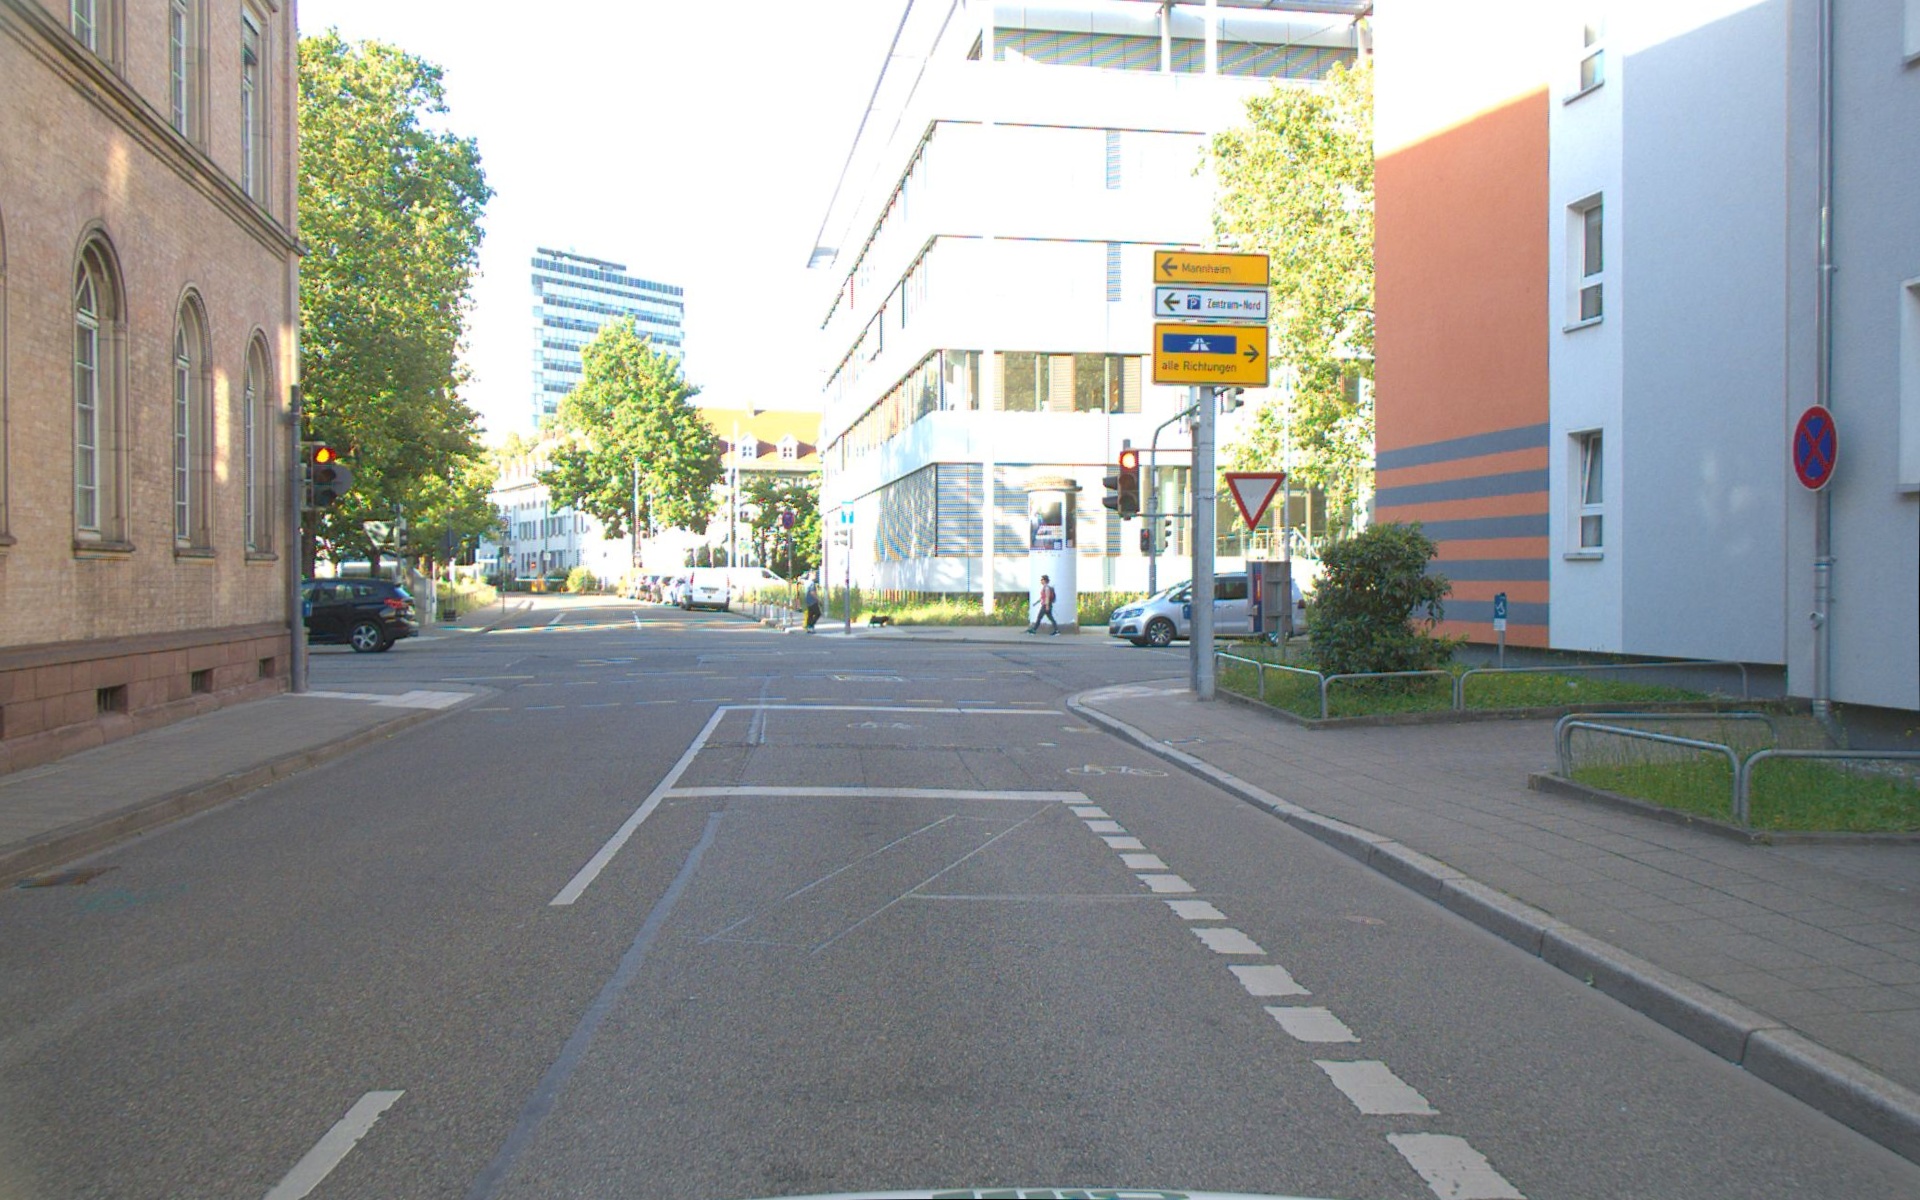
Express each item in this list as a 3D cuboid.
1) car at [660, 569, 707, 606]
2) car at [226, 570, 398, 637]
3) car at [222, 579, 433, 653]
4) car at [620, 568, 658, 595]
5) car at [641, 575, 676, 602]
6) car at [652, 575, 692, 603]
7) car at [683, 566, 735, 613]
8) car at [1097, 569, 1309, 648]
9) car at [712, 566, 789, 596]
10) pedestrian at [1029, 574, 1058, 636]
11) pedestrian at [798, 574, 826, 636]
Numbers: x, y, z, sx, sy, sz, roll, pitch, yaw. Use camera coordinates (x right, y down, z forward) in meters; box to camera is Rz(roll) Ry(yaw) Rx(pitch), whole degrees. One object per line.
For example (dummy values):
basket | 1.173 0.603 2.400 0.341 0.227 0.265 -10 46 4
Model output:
car | -14.128 -0.649 84.389 1.915 1.826 4.220 0 1 -16
car | -17.899 0.078 45.872 4.149 1.808 1.900 0 1 -12
car | -13.563 0.317 35.673 3.912 1.552 1.865 0 1 -8
car | -20.065 -1.173 103.332 2.065 1.686 4.459 0 1 -14
car | -17.095 -0.663 93.686 1.675 1.489 4.222 0 1 -14
car | -15.518 -0.594 88.965 1.677 1.449 4.219 0 1 -16
car | -11.070 -0.497 72.802 2.030 1.997 4.226 0 1 -12
car | 5.758 0.177 39.410 4.671 1.736 1.796 -1 1 -9
car | -14.050 -1.237 110.919 4.809 1.904 1.988 1 0 -20
pedestrian | 2.219 0.127 44.144 0.698 1.627 0.617 0 1 -4
pedestrian | -4.287 0.143 47.844 0.642 1.766 0.808 0 1 -18
